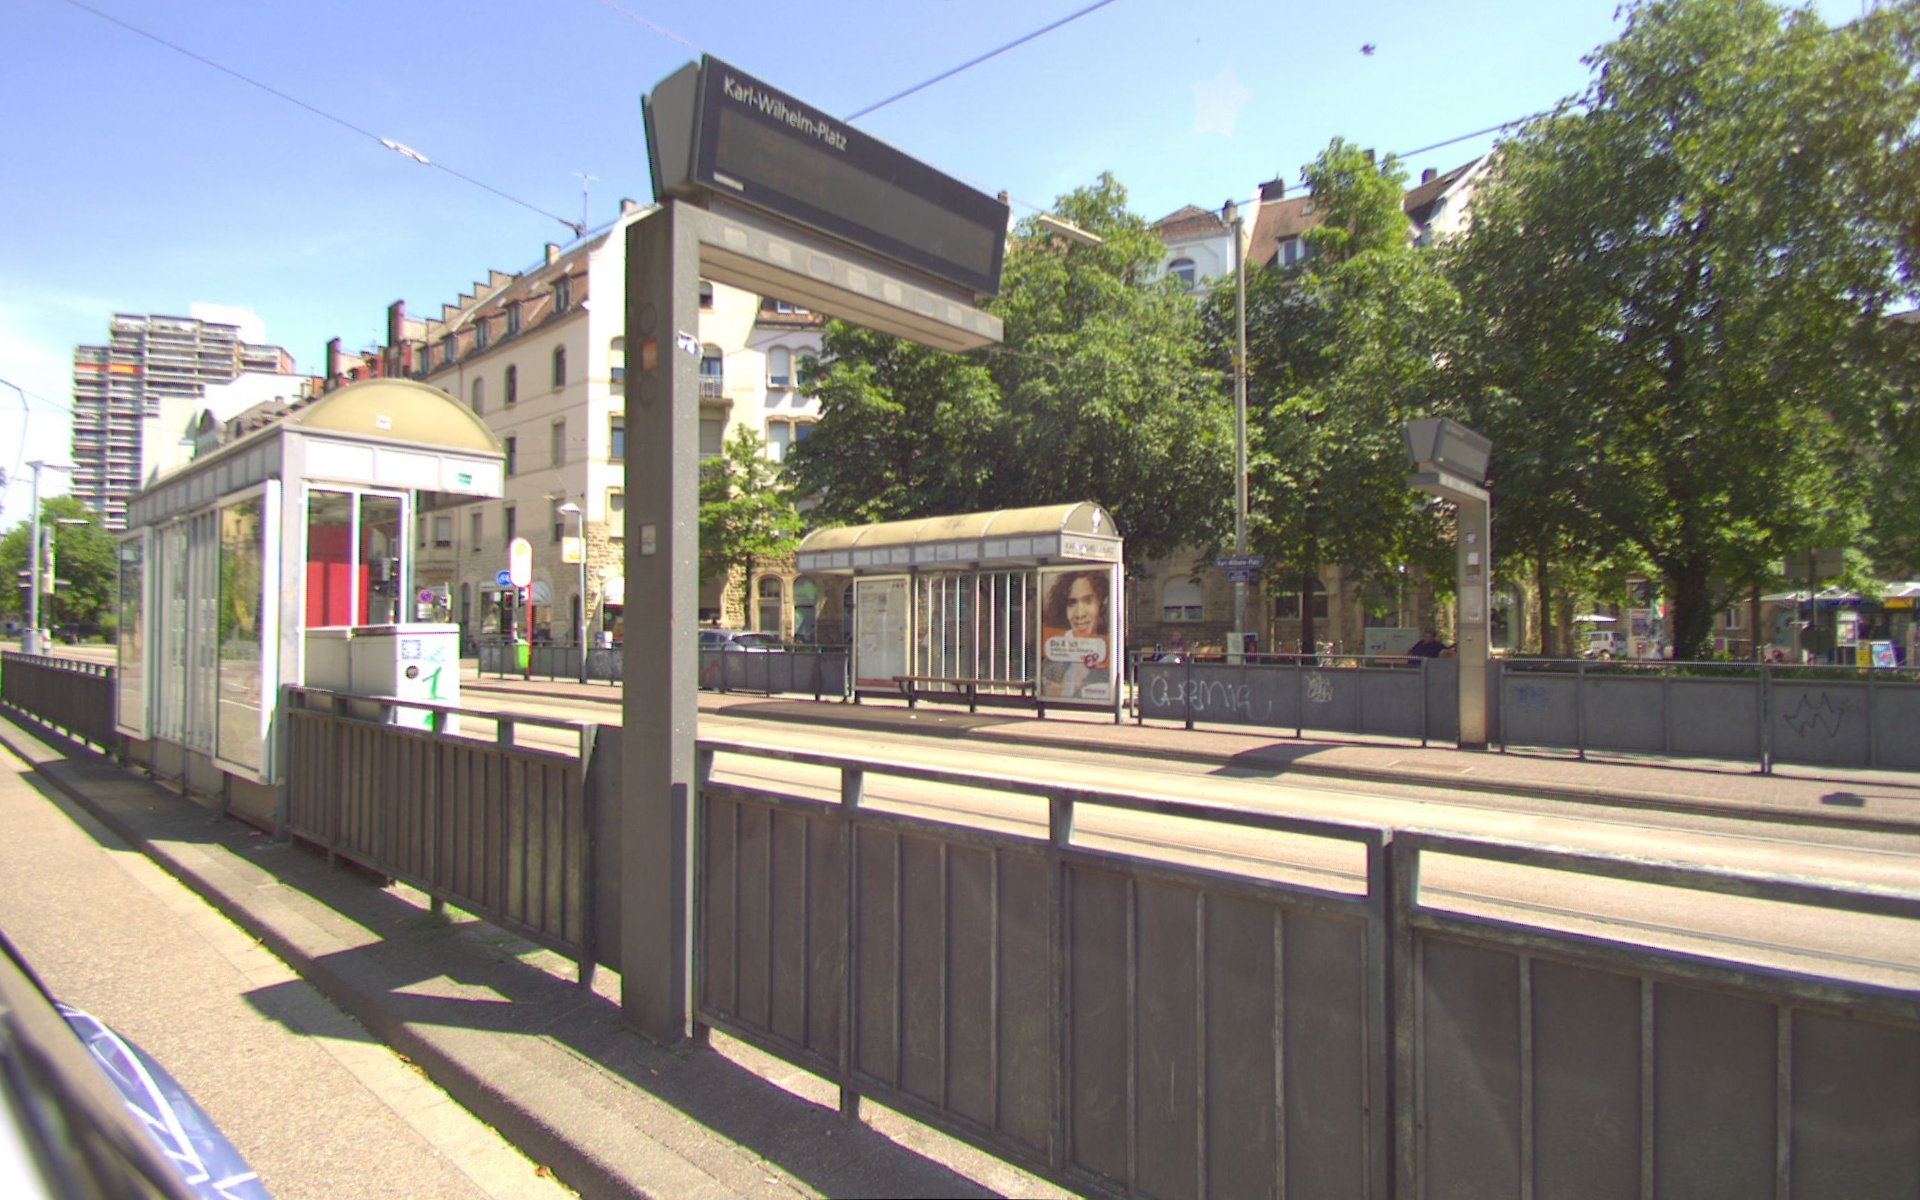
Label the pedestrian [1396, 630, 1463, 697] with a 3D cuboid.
[{"bbox_3d":[9.286,1.239,20.031,0.852,1.253,0.939,-1,0,-43],"label":"pedestrian"}]

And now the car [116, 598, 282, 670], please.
[{"bbox_3d":[-29.695,1.300,39.504,5.778,2.693,2.262,-1,0,17],"label":"car"}]

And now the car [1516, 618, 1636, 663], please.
[{"bbox_3d":[26.722,1.701,44.000,1.966,1.803,4.011,-1,0,-33],"label":"car"}]

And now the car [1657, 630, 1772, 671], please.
[{"bbox_3d":[35.791,2.344,48.093,1.736,1.721,3.998,-1,0,-33],"label":"car"}]

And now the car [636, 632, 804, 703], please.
[{"bbox_3d":[-5.595,1.490,23.352,3.998,1.404,1.789,-1,0,41],"label":"car"}]

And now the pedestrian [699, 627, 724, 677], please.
[{"bbox_3d":[-7.980,1.660,32.485,0.473,1.563,0.586,-2,-3,39],"label":"pedestrian"}]

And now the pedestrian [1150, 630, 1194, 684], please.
[{"bbox_3d":[5.097,1.356,24.306,0.930,1.253,0.860,-1,0,17],"label":"pedestrian"}]

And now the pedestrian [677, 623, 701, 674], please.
[{"bbox_3d":[-8.853,1.574,33.063,0.473,1.659,0.586,-2,-3,41],"label":"pedestrian"}]
